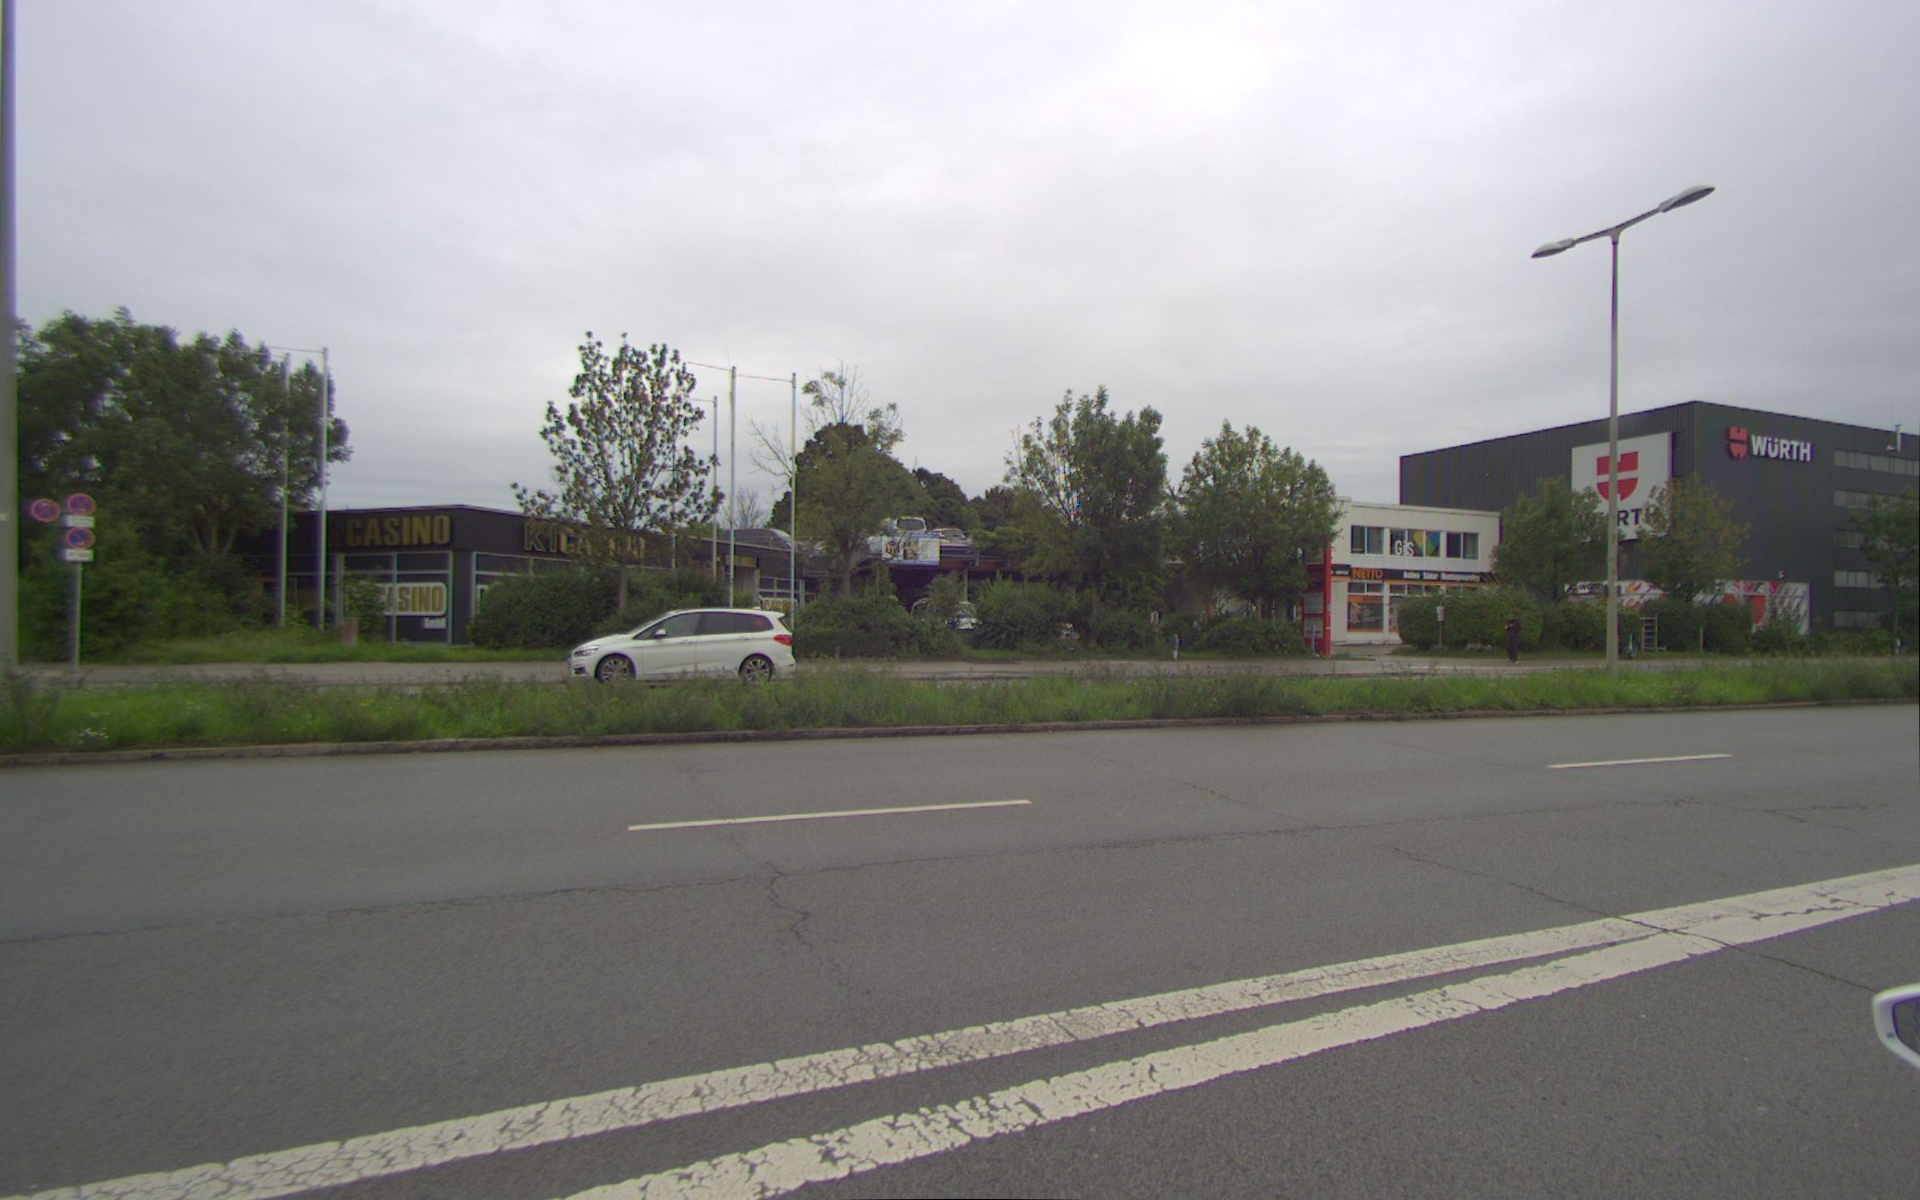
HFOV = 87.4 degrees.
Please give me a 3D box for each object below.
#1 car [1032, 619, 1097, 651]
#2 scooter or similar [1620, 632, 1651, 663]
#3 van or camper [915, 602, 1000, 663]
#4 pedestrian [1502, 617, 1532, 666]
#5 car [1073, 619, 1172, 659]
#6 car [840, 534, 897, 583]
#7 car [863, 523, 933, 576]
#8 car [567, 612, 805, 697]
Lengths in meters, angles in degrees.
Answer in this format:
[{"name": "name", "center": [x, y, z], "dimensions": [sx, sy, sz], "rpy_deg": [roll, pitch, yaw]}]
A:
[{"name": "car", "center": [5.185, 1.733, 50.288], "dimensions": [1.833, 1.487, 3.985], "rpy_deg": [2, -1, -17]}, {"name": "scooter or similar", "center": [28.323, 1.985, 42.094], "dimensions": [1.368, 1.243, 0.444], "rpy_deg": [1, -1, -25]}, {"name": "van or camper", "center": [-0.155, 1.147, 36.263], "dimensions": [1.968, 2.040, 3.986], "rpy_deg": [1, -1, -17]}, {"name": "pedestrian", "center": [21.277, 1.563, 38.392], "dimensions": [0.805, 1.854, 0.621], "rpy_deg": [0, -1, -23]}, {"name": "car", "center": [6.273, 1.488, 39.222], "dimensions": [1.846, 1.439, 3.973], "rpy_deg": [1, -1, -27]}, {"name": "car", "center": [-5.666, -2.486, 61.451], "dimensions": [2.104, 2.400, 4.775], "rpy_deg": [4, -5, -22]}, {"name": "car", "center": [-3.213, -2.500, 51.286], "dimensions": [2.104, 2.039, 4.775], "rpy_deg": [4, -5, -22]}, {"name": "car", "center": [-5.650, 1.111, 20.701], "dimensions": [4.509, 1.592, 1.989], "rpy_deg": [2, -2, -23]}]
